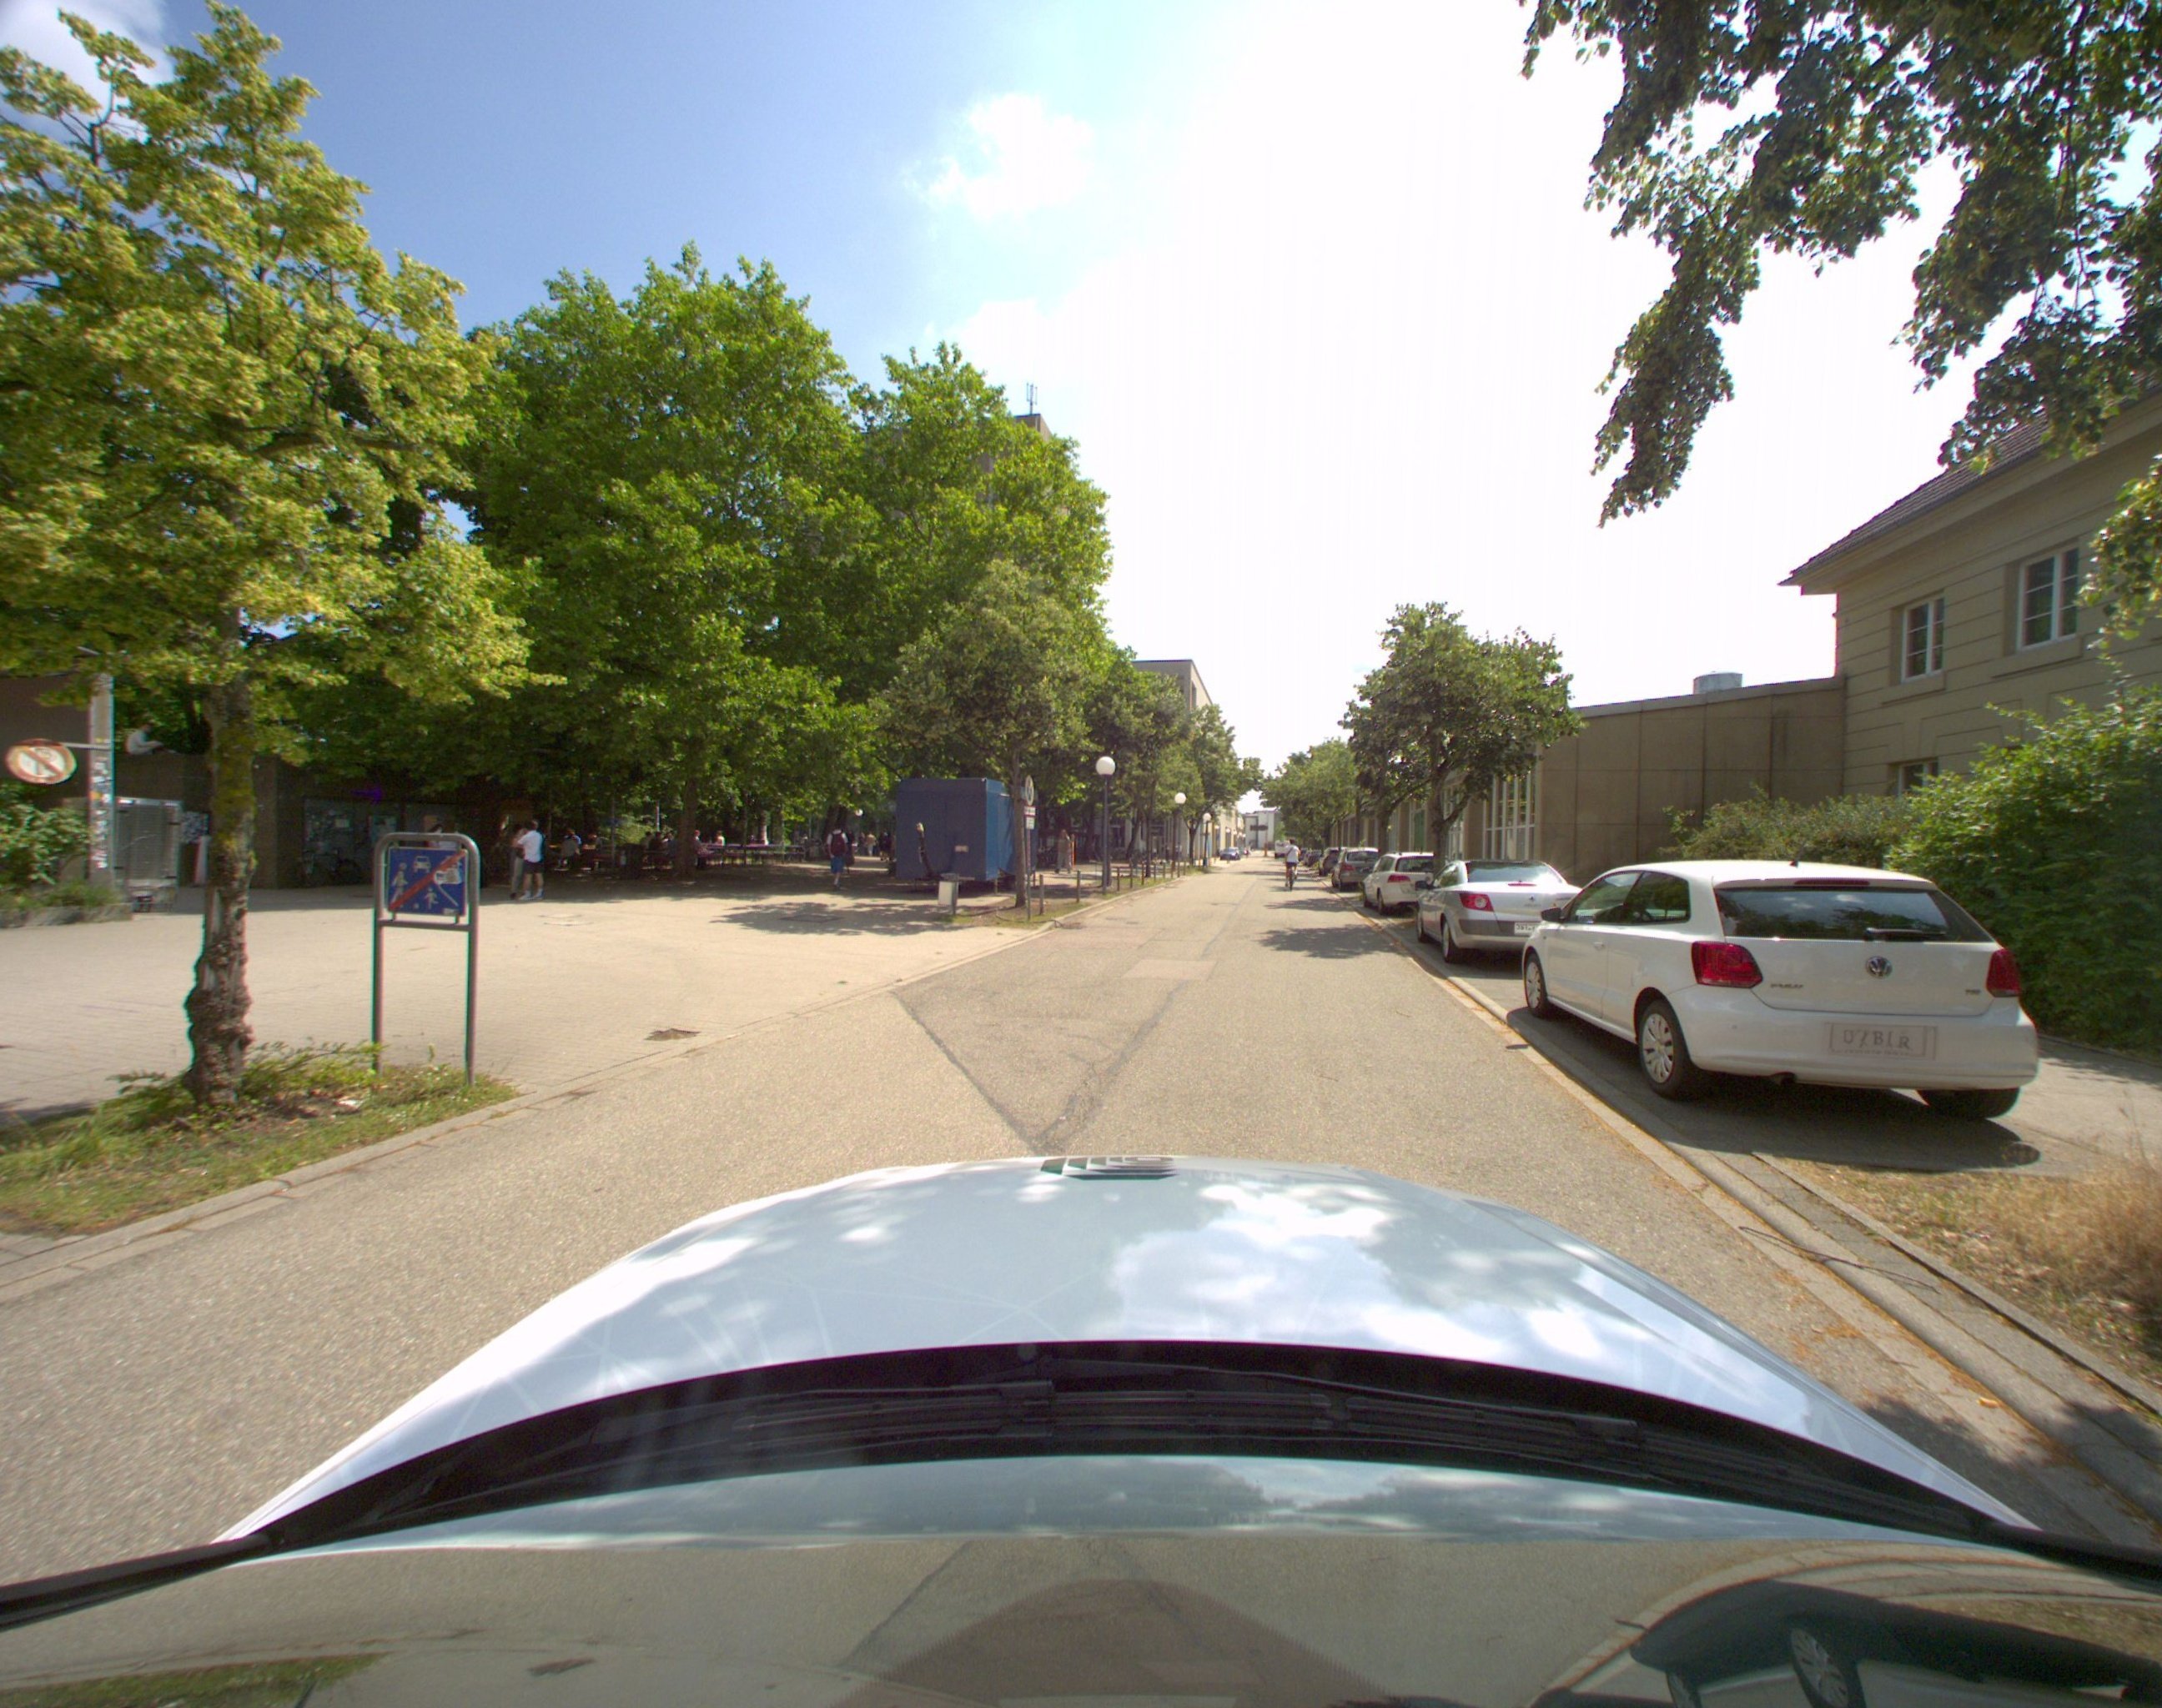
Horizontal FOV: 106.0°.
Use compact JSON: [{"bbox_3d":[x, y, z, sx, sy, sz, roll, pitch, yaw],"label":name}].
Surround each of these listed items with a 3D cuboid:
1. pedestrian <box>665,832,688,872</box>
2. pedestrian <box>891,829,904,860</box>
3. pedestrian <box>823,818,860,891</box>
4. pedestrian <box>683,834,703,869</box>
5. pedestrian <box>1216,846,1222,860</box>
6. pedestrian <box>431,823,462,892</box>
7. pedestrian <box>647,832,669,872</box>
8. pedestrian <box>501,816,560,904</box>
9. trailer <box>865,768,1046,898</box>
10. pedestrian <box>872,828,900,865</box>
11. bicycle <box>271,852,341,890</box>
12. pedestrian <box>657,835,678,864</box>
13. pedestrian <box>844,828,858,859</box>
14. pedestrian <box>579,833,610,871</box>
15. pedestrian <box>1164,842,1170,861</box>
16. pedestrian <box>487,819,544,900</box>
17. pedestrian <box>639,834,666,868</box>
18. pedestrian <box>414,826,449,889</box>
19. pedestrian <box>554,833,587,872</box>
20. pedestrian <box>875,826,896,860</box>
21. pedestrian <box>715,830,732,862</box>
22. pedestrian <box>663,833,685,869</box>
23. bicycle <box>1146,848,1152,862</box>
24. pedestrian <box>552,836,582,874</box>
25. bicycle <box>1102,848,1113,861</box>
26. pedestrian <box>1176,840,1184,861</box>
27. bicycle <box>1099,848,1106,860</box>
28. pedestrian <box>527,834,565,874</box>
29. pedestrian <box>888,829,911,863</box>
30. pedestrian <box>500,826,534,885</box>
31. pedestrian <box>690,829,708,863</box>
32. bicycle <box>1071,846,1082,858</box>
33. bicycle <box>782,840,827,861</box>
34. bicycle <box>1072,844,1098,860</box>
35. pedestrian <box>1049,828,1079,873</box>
[{"bbox_3d":[-14.175,-0.075,28.554,0.595,1.369,0.738,1,2,-21],"label":"pedestrian"},{"bbox_3d":[-11.358,-0.561,50.411,0.592,1.904,0.512,1,1,-33],"label":"pedestrian"},{"bbox_3d":[-6.250,0.008,21.244,0.853,1.835,0.873,1,2,-17],"label":"pedestrian"},{"bbox_3d":[-14.016,-0.101,29.430,0.595,1.233,0.738,1,2,-21],"label":"pedestrian"},{"bbox_3d":[17.223,-0.135,101.605,0.647,1.701,0.890,2,0,3],"label":"pedestrian"},{"bbox_3d":[-16.077,0.092,20.636,0.532,1.710,0.444,2,2,-31],"label":"pedestrian"},{"bbox_3d":[-14.915,-0.065,28.718,0.595,1.369,0.699,1,2,-21],"label":"pedestrian"},{"bbox_3d":[-11.689,0.131,17.302,0.443,1.820,0.886,0,-2,41],"label":"pedestrian"},{"bbox_3d":[-3.182,-0.554,22.658,2.678,3.026,6.289,2,1,13],"label":"trailer"},{"bbox_3d":[-10.604,-0.415,44.298,1.130,1.948,0.882,3,1,-39],"label":"pedestrian"},{"bbox_3d":[-18.949,0.395,19.934,0.302,0.883,1.237,1,0,15],"label":"bicycle"},{"bbox_3d":[-17.097,-0.181,33.684,0.389,1.194,0.731,2,1,4],"label":"pedestrian"},{"bbox_3d":[-12.616,-0.574,44.707,0.630,1.670,0.728,2,1,-9],"label":"pedestrian"},{"bbox_3d":[-16.762,-0.087,28.077,0.556,1.271,0.696,2,1,14],"label":"pedestrian"},{"bbox_3d":[8.186,-0.219,77.552,0.442,1.775,0.448,1,1,-17],"label":"pedestrian"},{"bbox_3d":[-12.332,0.129,17.773,0.483,1.720,0.886,0,-2,41],"label":"pedestrian"},{"bbox_3d":[-16.423,-0.123,31.208,0.566,1.250,0.768,2,1,2],"label":"pedestrian"},{"bbox_3d":[-16.646,0.094,20.879,0.607,1.593,0.409,2,2,-28],"label":"pedestrian"},{"bbox_3d":[-17.006,-0.043,27.131,0.556,1.271,0.696,2,1,14],"label":"pedestrian"},{"bbox_3d":[-11.472,-0.629,47.787,0.827,1.948,0.842,3,1,-39],"label":"pedestrian"},{"bbox_3d":[-16.139,-0.370,36.731,0.503,1.422,0.461,2,1,3],"label":"pedestrian"},{"bbox_3d":[-14.614,-0.118,29.251,0.595,1.233,0.738,1,2,-21],"label":"pedestrian"},{"bbox_3d":[5.257,0.059,63.180,0.380,1.025,1.816,1,1,2],"label":"bicycle"},{"bbox_3d":[-17.900,0.026,28.368,0.640,1.323,0.561,1,0,15],"label":"pedestrian"},{"bbox_3d":[2.316,0.029,70.496,0.548,1.086,1.980,3,1,14],"label":"bicycle"},{"bbox_3d":[9.274,-0.334,76.482,0.413,1.941,0.660,2,1,-15],"label":"pedestrian"},{"bbox_3d":[1.748,-0.017,65.885,0.473,0.965,1.658,1,1,3],"label":"bicycle"},{"bbox_3d":[-17.972,0.002,27.353,0.682,1.323,0.781,1,1,15],"label":"pedestrian"},{"bbox_3d":[-10.754,-0.482,48.340,0.925,1.948,0.882,3,1,-39],"label":"pedestrian"},{"bbox_3d":[-15.920,0.039,22.991,0.680,1.650,0.499,2,1,-26],"label":"pedestrian"},{"bbox_3d":[-17.214,-0.367,36.697,0.503,1.522,0.474,2,1,3],"label":"pedestrian"},{"bbox_3d":[-0.397,-0.175,68.420,0.472,1.032,1.857,2,1,14],"label":"bicycle"},{"bbox_3d":[-13.587,-0.163,39.972,1.998,1.008,0.585,1,1,4],"label":"bicycle"},{"bbox_3d":[0.298,-0.195,65.093,2.020,1.253,0.584,0,1,-19],"label":"bicycle"},{"bbox_3d":[-0.750,-0.156,36.391,0.910,1.954,0.897,4,1,23],"label":"pedestrian"}]
